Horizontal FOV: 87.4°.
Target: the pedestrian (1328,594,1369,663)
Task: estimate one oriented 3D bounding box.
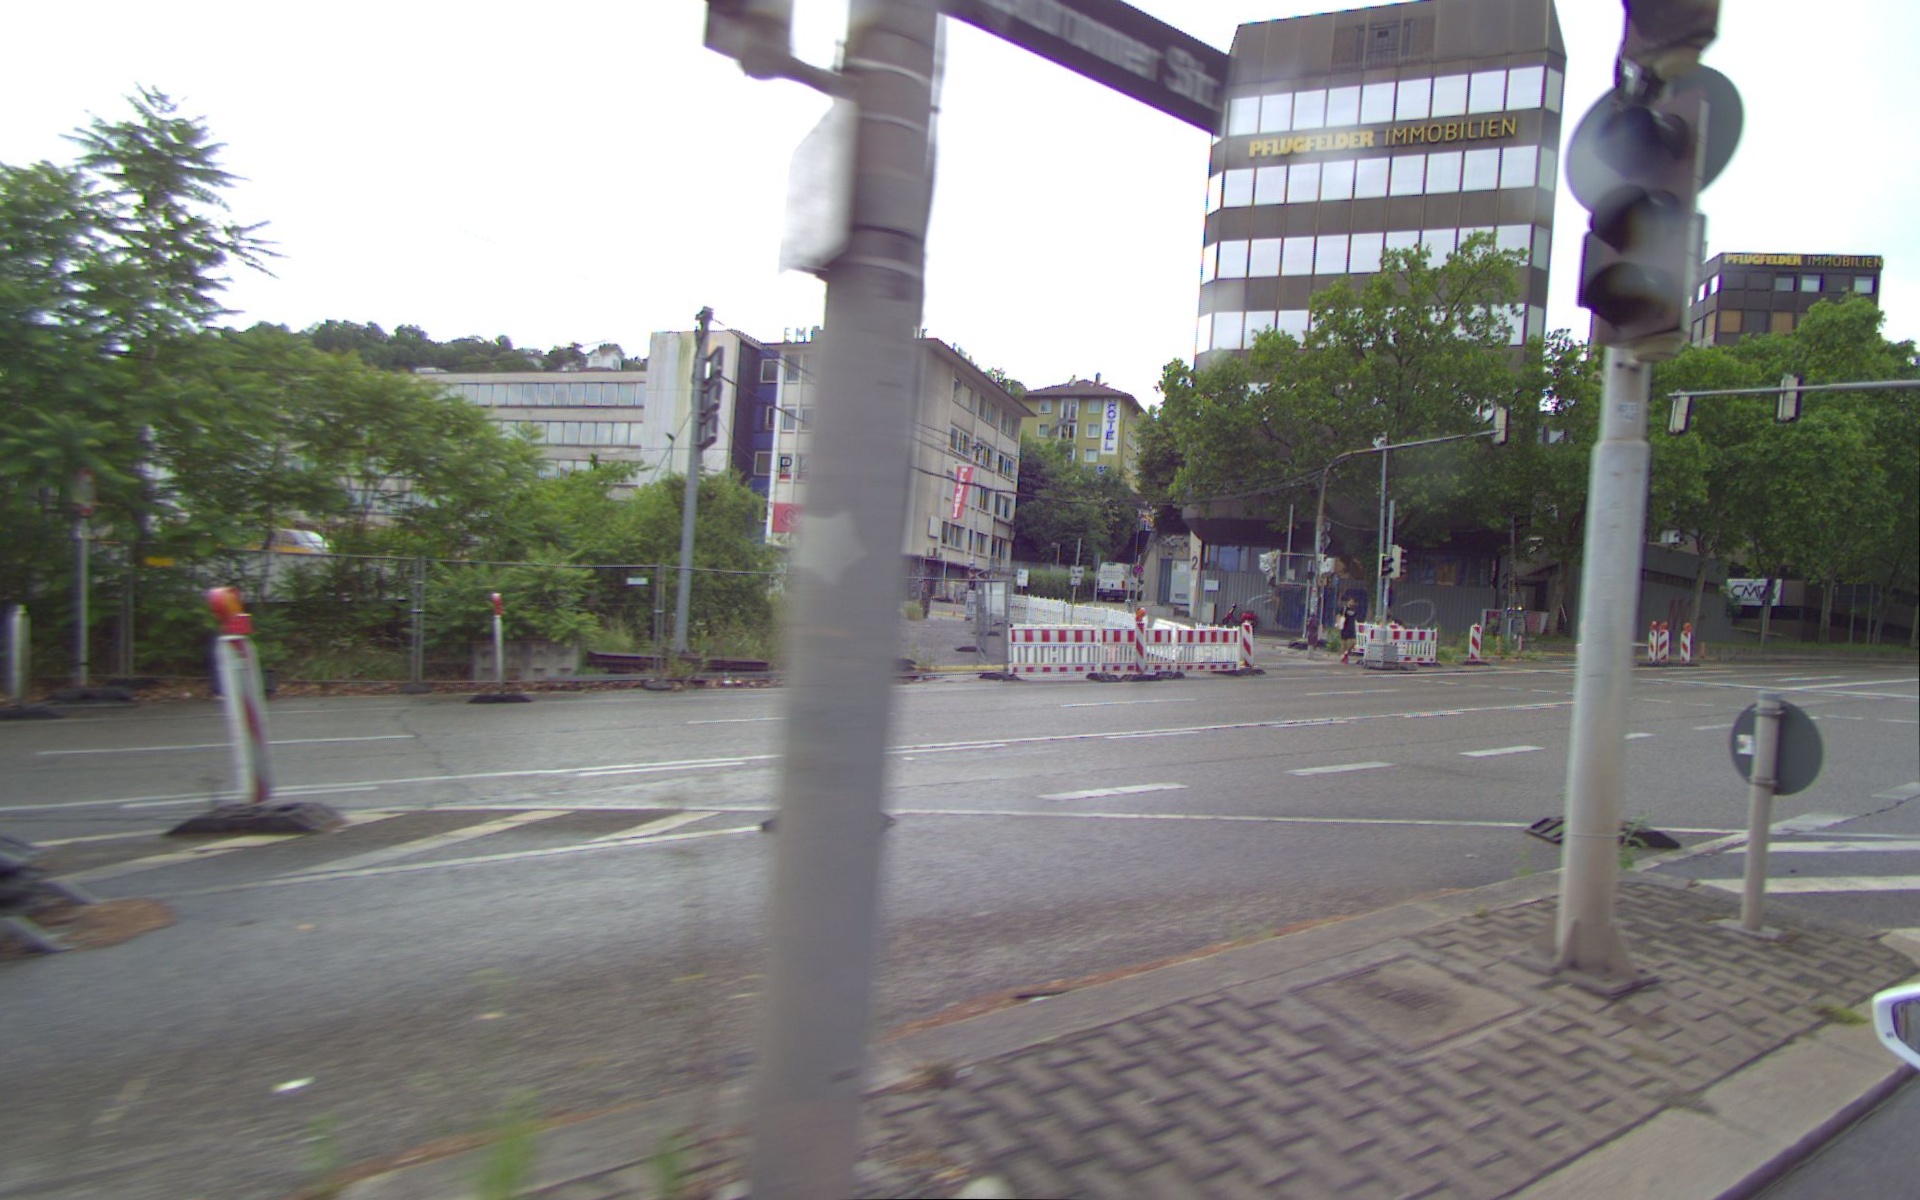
[{"bbox_3d":[11.222,0.823,29.024,0.742,1.905,0.734,4,0,-41],"label":"pedestrian"}]

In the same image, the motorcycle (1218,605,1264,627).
[{"bbox_3d":[14.286,0.806,51.014,2.141,1.051,0.565,3,1,24],"label":"motorcycle"}]

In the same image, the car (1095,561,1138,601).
[{"bbox_3d":[11.255,-1.294,71.936,2.184,2.474,5.507,4,-1,17],"label":"car"}]

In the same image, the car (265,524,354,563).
[{"bbox_3d":[-34.453,-3.006,53.220,3.922,1.728,2.000,4,0,21],"label":"car"}]

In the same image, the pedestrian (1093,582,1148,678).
[{"bbox_3d":[3.400,0.627,21.305,0.733,1.947,0.757,4,0,-29],"label":"pedestrian"}]

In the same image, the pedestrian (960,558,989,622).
[{"bbox_3d":[0.528,-0.357,35.824,0.688,2.200,0.747,4,0,22],"label":"pedestrian"}]

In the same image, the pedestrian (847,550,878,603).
[{"bbox_3d":[-3.524,-0.843,36.349,0.769,1.877,0.768,2,1,22],"label":"pedestrian"}]

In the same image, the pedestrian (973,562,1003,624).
[{"bbox_3d":[1.023,-0.241,36.484,0.728,2.168,0.747,4,0,22],"label":"pedestrian"}]

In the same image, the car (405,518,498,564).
[{"bbox_3d":[-25.774,-2.986,50.955,3.922,2.040,2.000,4,0,21],"label":"car"}]

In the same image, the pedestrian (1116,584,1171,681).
[{"bbox_3d":[3.770,0.658,20.658,0.766,1.926,0.669,4,0,-29],"label":"pedestrian"}]
